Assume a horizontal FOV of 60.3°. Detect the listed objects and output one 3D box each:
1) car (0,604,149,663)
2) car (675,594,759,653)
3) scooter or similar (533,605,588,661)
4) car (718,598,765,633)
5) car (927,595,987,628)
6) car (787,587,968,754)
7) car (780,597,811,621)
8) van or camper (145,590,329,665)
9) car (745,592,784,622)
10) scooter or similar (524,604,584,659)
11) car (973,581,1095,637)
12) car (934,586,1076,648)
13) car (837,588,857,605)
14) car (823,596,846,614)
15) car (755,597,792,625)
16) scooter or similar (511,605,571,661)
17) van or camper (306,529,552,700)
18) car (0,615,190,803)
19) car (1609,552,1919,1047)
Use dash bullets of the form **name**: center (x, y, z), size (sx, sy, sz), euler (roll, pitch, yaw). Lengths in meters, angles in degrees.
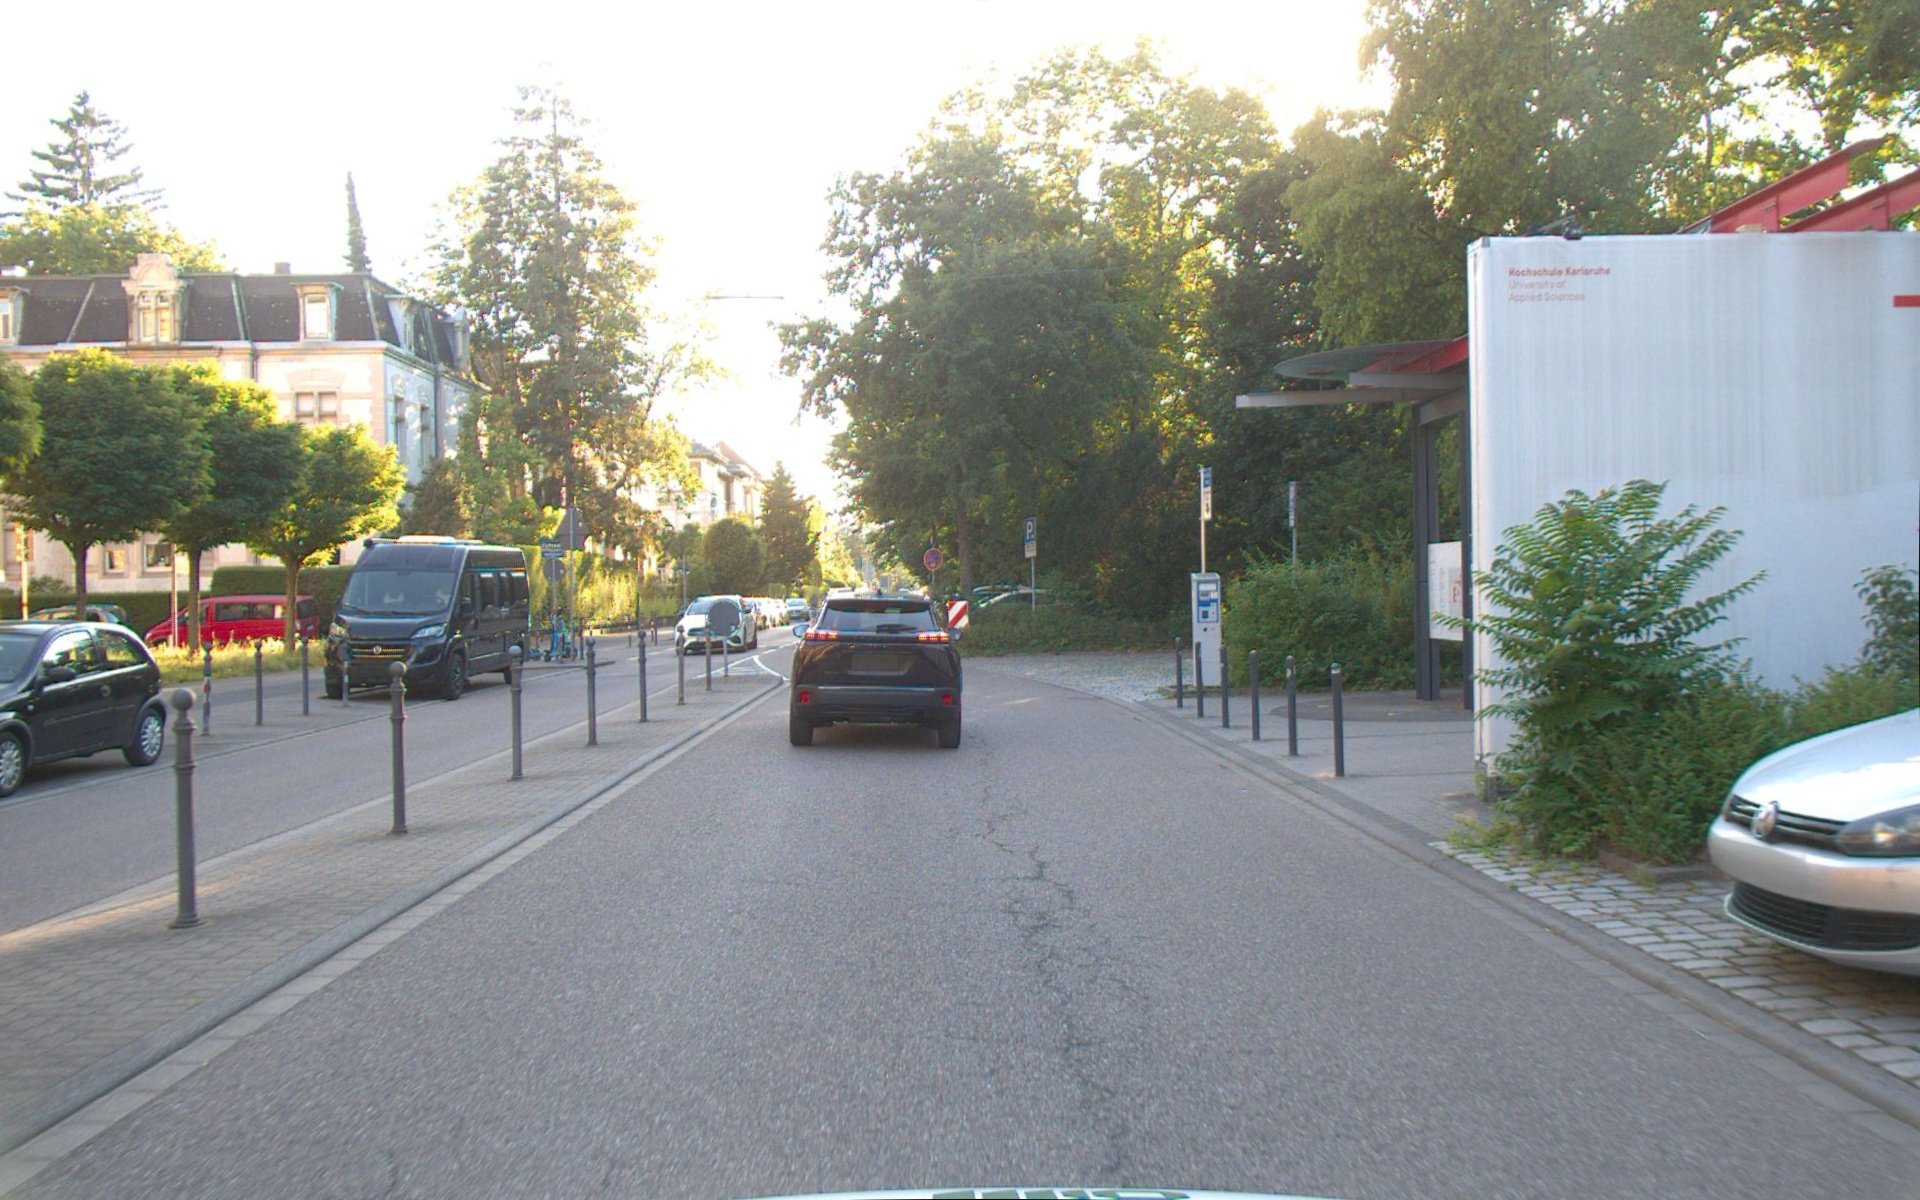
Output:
- **car**: center (-27.201, 1.004, 50.483), size (3.908, 1.703, 1.919), euler (-1, 0, -4)
- **car**: center (-6.575, 0.619, 45.201), size (1.706, 1.483, 4.622), euler (-2, 0, -2)
- **scooter or similar**: center (-9.428, 0.769, 39.055), size (0.423, 1.297, 1.340), euler (-1, 0, 34)
- **car**: center (-9.835, 0.679, 74.710), size (1.581, 1.492, 4.035), euler (-2, 0, -1)
- **car**: center (-0.195, 0.768, 111.899), size (3.910, 2.126, 1.755), euler (-1, 0, -7)
- **car**: center (-0.833, 0.657, 17.910), size (1.735, 1.596, 4.108), euler (0, 0, -1)
- **car**: center (-10.621, 0.549, 106.759), size (1.717, 1.438, 3.762), euler (-3, 0, -3)
- **van or camper**: center (-22.148, 0.822, 50.786), size (4.670, 2.020, 2.001), euler (-1, 4, 0)
- **car**: center (-10.116, 0.359, 85.909), size (1.581, 1.492, 4.035), euler (-2, 0, -1)
- **scooter or similar**: center (-9.842, 0.767, 40.099), size (1.329, 1.297, 0.426), euler (-1, 0, -37)
- **car**: center (2.646, 0.320, 59.817), size (4.221, 1.836, 2.034), euler (-2, 0, -3)
- **car**: center (1.251, 0.477, 46.911), size (3.906, 1.581, 1.725), euler (-2, 1, -2)
- **car**: center (-11.929, -0.362, 174.761), size (1.953, 1.799, 3.998), euler (-1, 0, -2)
- **car**: center (-11.556, 0.458, 152.402), size (1.861, 1.601, 3.999), euler (-1, 0, -2)
- **car**: center (-10.220, 0.599, 90.670), size (1.581, 1.492, 4.035), euler (-2, 0, -1)
- **scooter or similar**: center (-9.986, 0.770, 39.408), size (1.329, 1.297, 0.426), euler (-1, 0, -37)
- **van or camper**: center (-8.991, 0.230, 28.842), size (2.184, 2.589, 7.077), euler (0, 0, -2)
- **car**: center (-8.763, 0.915, 15.044), size (1.661, 1.496, 3.854), euler (1, 0, 0)
- **car**: center (5.335, 0.523, 6.420), size (4.828, 1.581, 1.915), euler (-3, 0, -2)
